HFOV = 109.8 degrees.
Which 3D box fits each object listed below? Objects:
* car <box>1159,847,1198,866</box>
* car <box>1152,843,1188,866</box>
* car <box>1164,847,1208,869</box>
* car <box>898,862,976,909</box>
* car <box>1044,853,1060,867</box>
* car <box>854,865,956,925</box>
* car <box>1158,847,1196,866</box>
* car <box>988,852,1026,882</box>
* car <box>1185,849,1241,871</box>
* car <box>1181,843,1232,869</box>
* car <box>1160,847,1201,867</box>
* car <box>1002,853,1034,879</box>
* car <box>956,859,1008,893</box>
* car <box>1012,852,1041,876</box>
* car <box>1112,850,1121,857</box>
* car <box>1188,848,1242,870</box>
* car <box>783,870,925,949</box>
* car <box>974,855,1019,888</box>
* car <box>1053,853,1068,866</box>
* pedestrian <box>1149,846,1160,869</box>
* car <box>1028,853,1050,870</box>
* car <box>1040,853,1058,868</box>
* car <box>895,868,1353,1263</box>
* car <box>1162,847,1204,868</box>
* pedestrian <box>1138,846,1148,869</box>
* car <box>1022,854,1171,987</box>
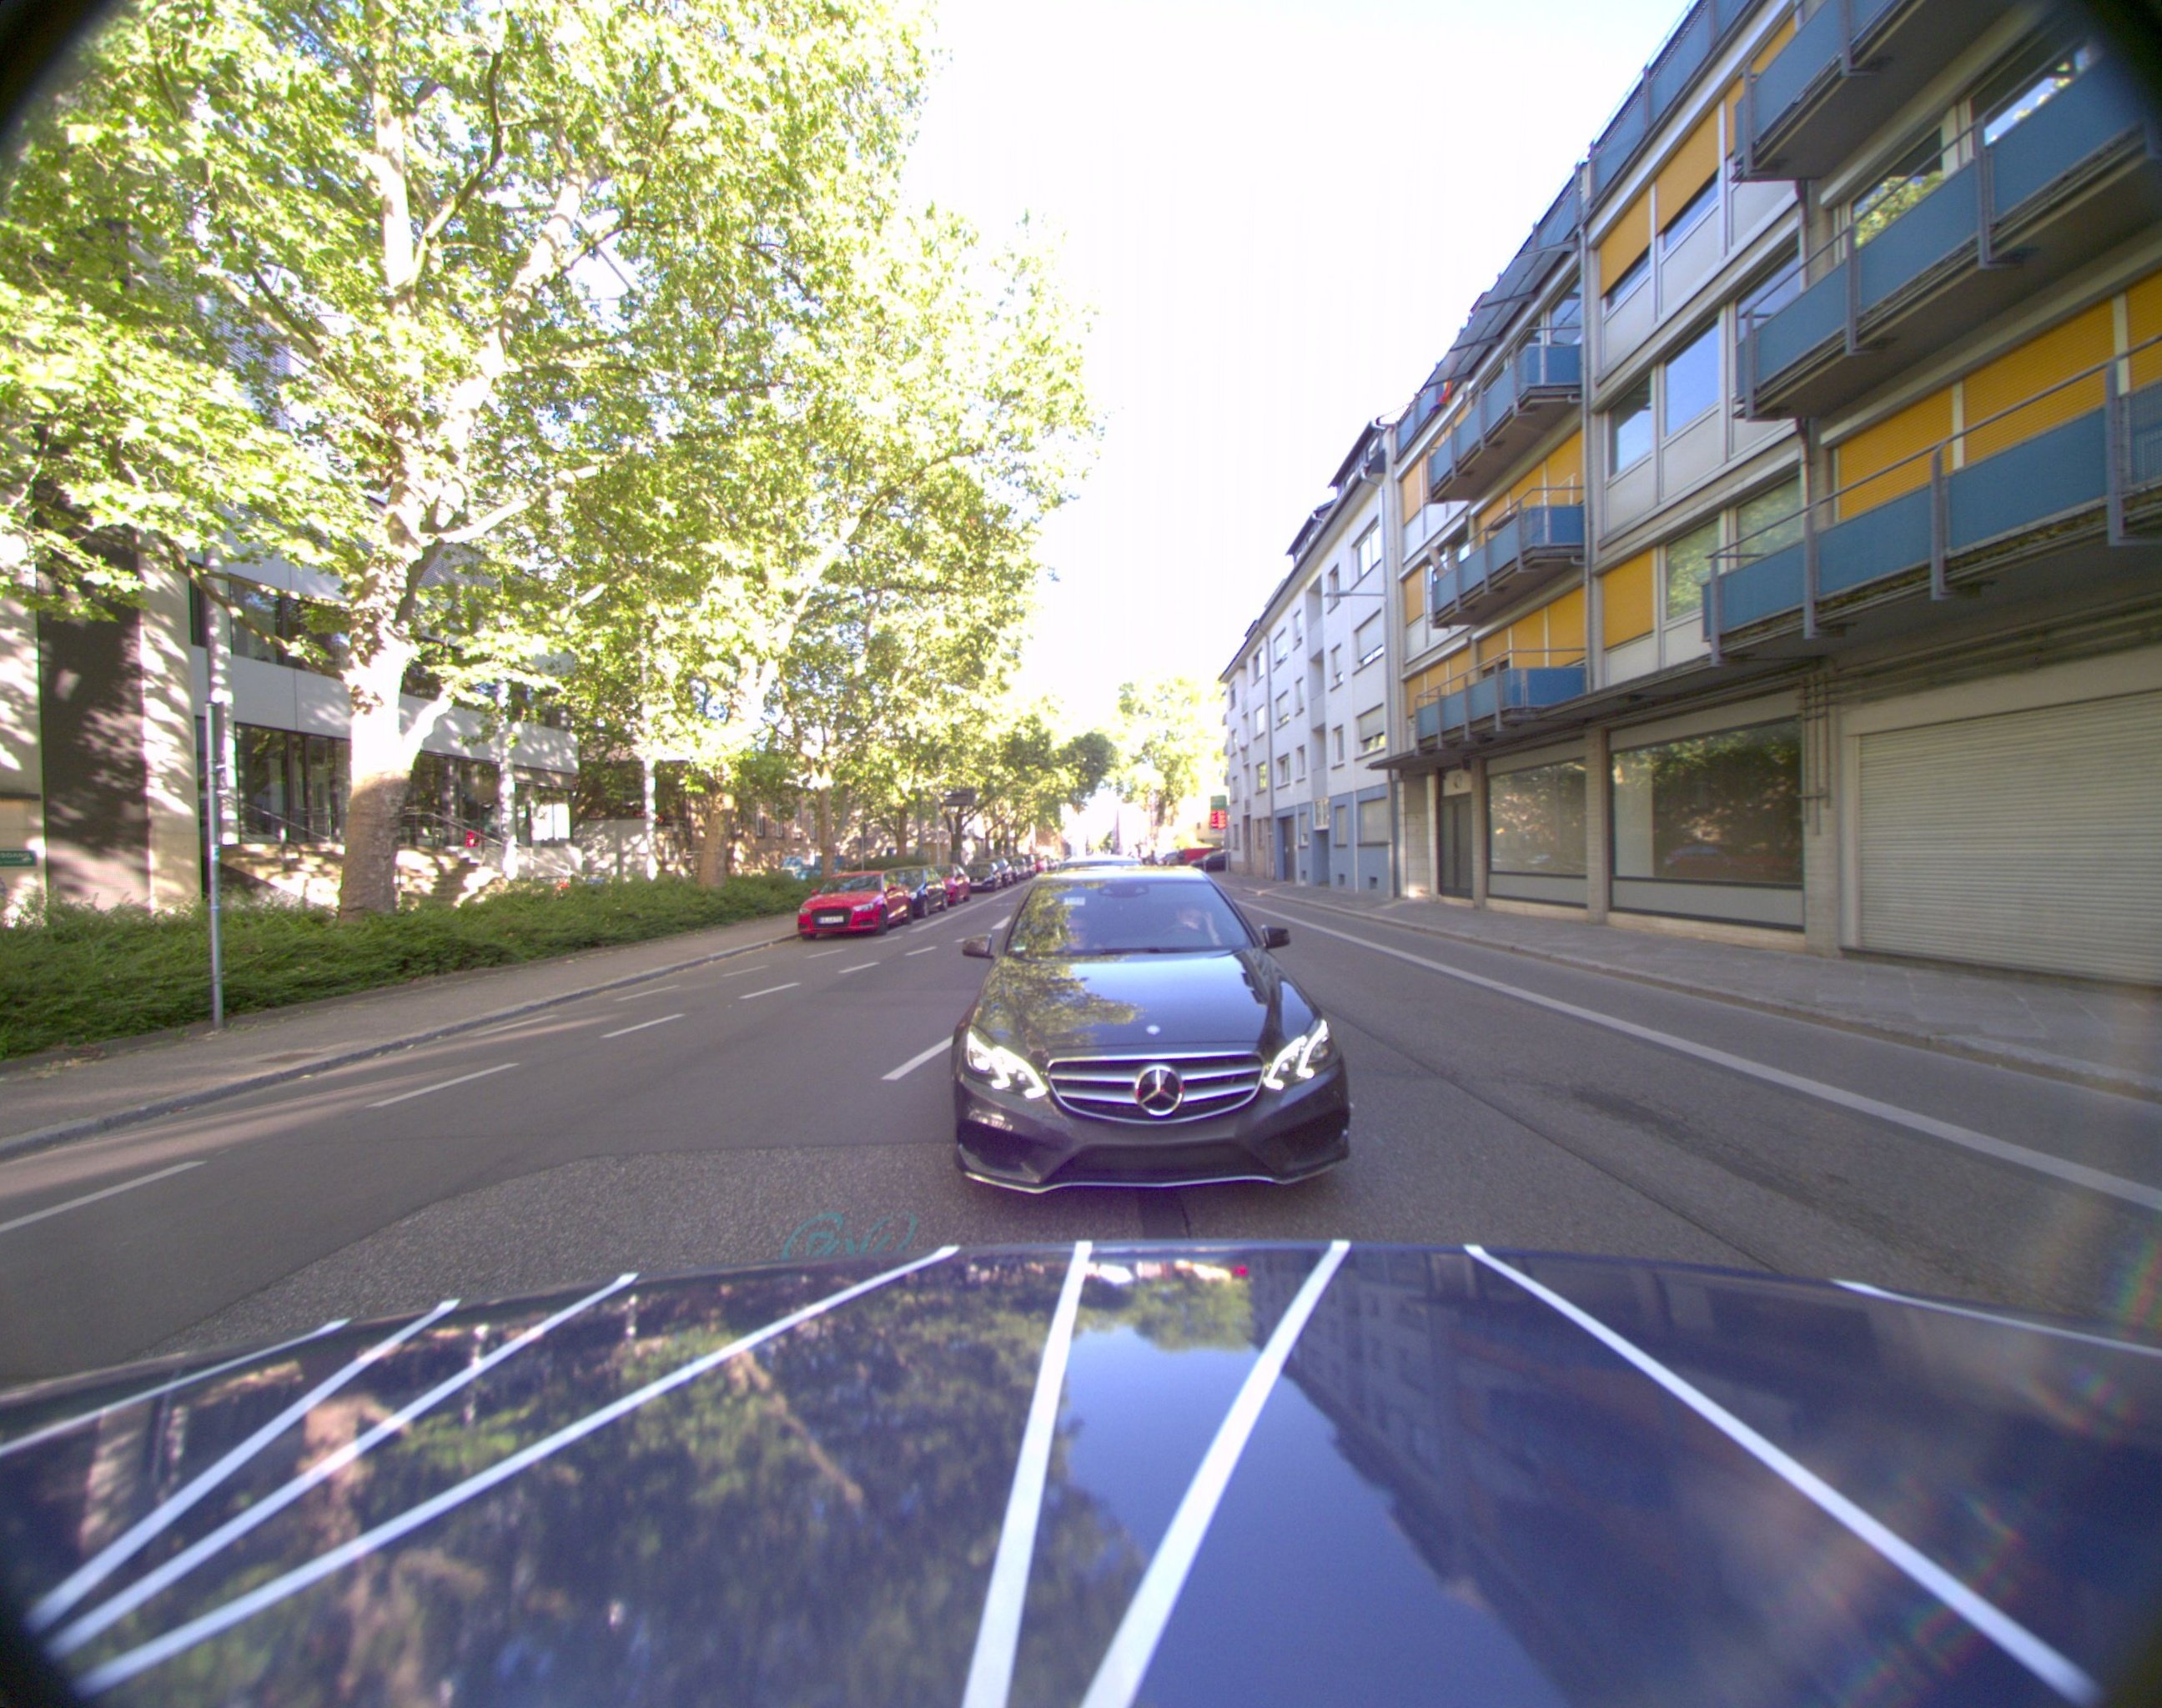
[{"bbox_3d":[10.597,0.278,82.496,3.996,1.936,2.000,-2,1,2],"label":"car"},{"bbox_3d":[10.497,0.007,89.518,3.996,2.505,2.000,-2,1,2],"label":"car"},{"bbox_3d":[10.255,0.380,74.516,3.996,1.936,2.000,-2,1,2],"label":"car"},{"bbox_3d":[-5.082,1.065,27.436,1.866,1.442,4.481,-2,0,1],"label":"car"},{"bbox_3d":[-3.663,0.771,96.788,1.866,1.632,4.481,-2,0,1],"label":"car"},{"bbox_3d":[-5.038,1.123,22.393,1.866,1.442,4.481,-2,0,1],"label":"car"},{"bbox_3d":[10.743,0.245,84.990,3.996,1.936,2.000,-2,1,2],"label":"car"},{"bbox_3d":[-4.627,0.784,48.145,1.866,1.749,4.481,-2,0,1],"label":"car"},{"bbox_3d":[10.181,0.426,58.881,3.996,1.543,2.000,-2,1,2],"label":"car"},{"bbox_3d":[10.555,0.158,64.035,3.996,1.936,2.000,-2,1,2],"label":"car"},{"bbox_3d":[10.468,0.311,80.008,3.996,1.936,2.000,-2,1,2],"label":"car"},{"bbox_3d":[-4.496,0.819,54.811,1.866,1.749,4.481,-2,0,1],"label":"car"},{"bbox_3d":[-4.750,1.024,37.183,1.866,1.442,4.481,-2,0,1],"label":"car"},{"bbox_3d":[-4.239,0.756,59.767,1.866,1.749,4.481,-2,0,1],"label":"car"},{"bbox_3d":[8.671,-0.078,186.257,1.866,1.632,4.481,-2,0,1],"label":"car"},{"bbox_3d":[10.722,0.380,61.204,3.996,1.543,2.000,-2,1,2],"label":"car"},{"bbox_3d":[-5.099,1.177,17.742,1.866,1.442,4.481,-2,0,1],"label":"car"},{"bbox_3d":[-4.615,0.907,42.218,1.866,1.658,4.481,-2,0,1],"label":"car"},{"bbox_3d":[-2.828,0.721,105.196,1.866,1.632,4.481,-2,0,1],"label":"car"},{"bbox_3d":[6.570,0.326,67.934,0.735,2.002,1.046,-2,1,0],"label":"pedestrian"},{"bbox_3d":[-4.192,0.705,76.289,1.866,1.632,4.481,-2,0,1],"label":"car"},{"bbox_3d":[-3.777,0.733,89.987,1.866,1.632,4.481,-2,0,1],"label":"car"},{"bbox_3d":[0.210,0.932,5.418,1.866,1.492,4.481,-2,0,1],"label":"car"},{"bbox_3d":[10.339,0.348,77.157,3.996,1.936,2.000,-2,1,2],"label":"car"},{"bbox_3d":[5.565,0.332,68.505,0.735,2.002,0.797,-2,1,1],"label":"pedestrian"},{"bbox_3d":[0.230,0.858,11.941,1.866,1.630,4.303,-2,0,1],"label":"car"}]
